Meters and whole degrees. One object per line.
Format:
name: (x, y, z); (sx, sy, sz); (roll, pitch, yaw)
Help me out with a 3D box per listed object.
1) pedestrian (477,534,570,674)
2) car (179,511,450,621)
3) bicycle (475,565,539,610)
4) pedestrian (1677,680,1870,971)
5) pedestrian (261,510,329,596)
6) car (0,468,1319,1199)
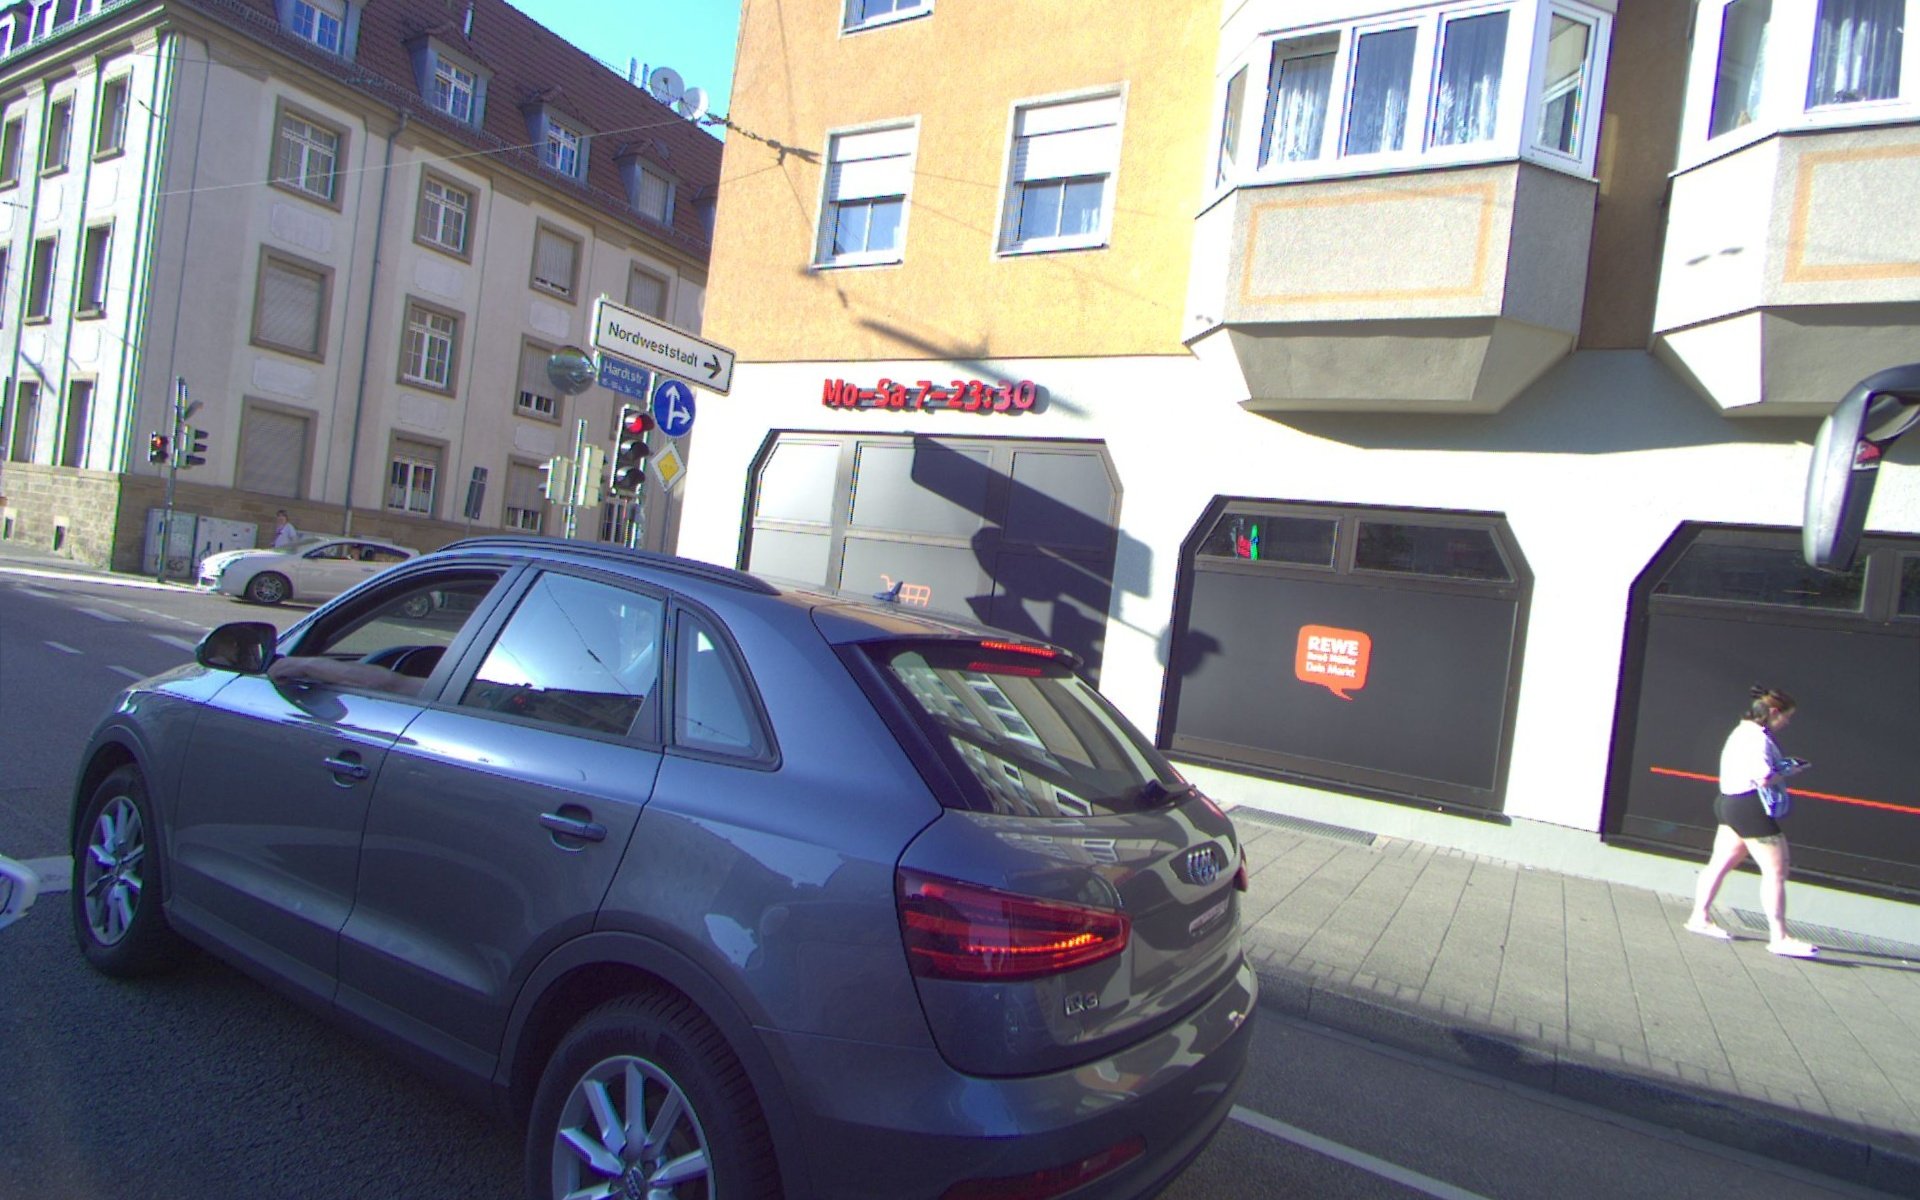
pedestrian: (-5.947, 0.054, 13.712); (0.812, 1.778, 0.630); (6, -1, 32)
car: (-12.542, -0.619, 19.735); (1.971, 1.582, 3.984); (6, -2, 40)
bicycle: (-12.545, -0.339, 27.881); (1.499, 1.029, 0.247); (9, -2, -43)
pedestrian: (5.006, 1.341, 6.240); (0.656, 1.603, 0.580); (7, 1, 27)
pedestrian: (-14.871, -1.048, 22.499); (0.810, 1.783, 0.837); (6, -1, 31)
car: (-1.240, 0.605, 3.291); (4.155, 1.570, 1.701); (7, -2, 32)
